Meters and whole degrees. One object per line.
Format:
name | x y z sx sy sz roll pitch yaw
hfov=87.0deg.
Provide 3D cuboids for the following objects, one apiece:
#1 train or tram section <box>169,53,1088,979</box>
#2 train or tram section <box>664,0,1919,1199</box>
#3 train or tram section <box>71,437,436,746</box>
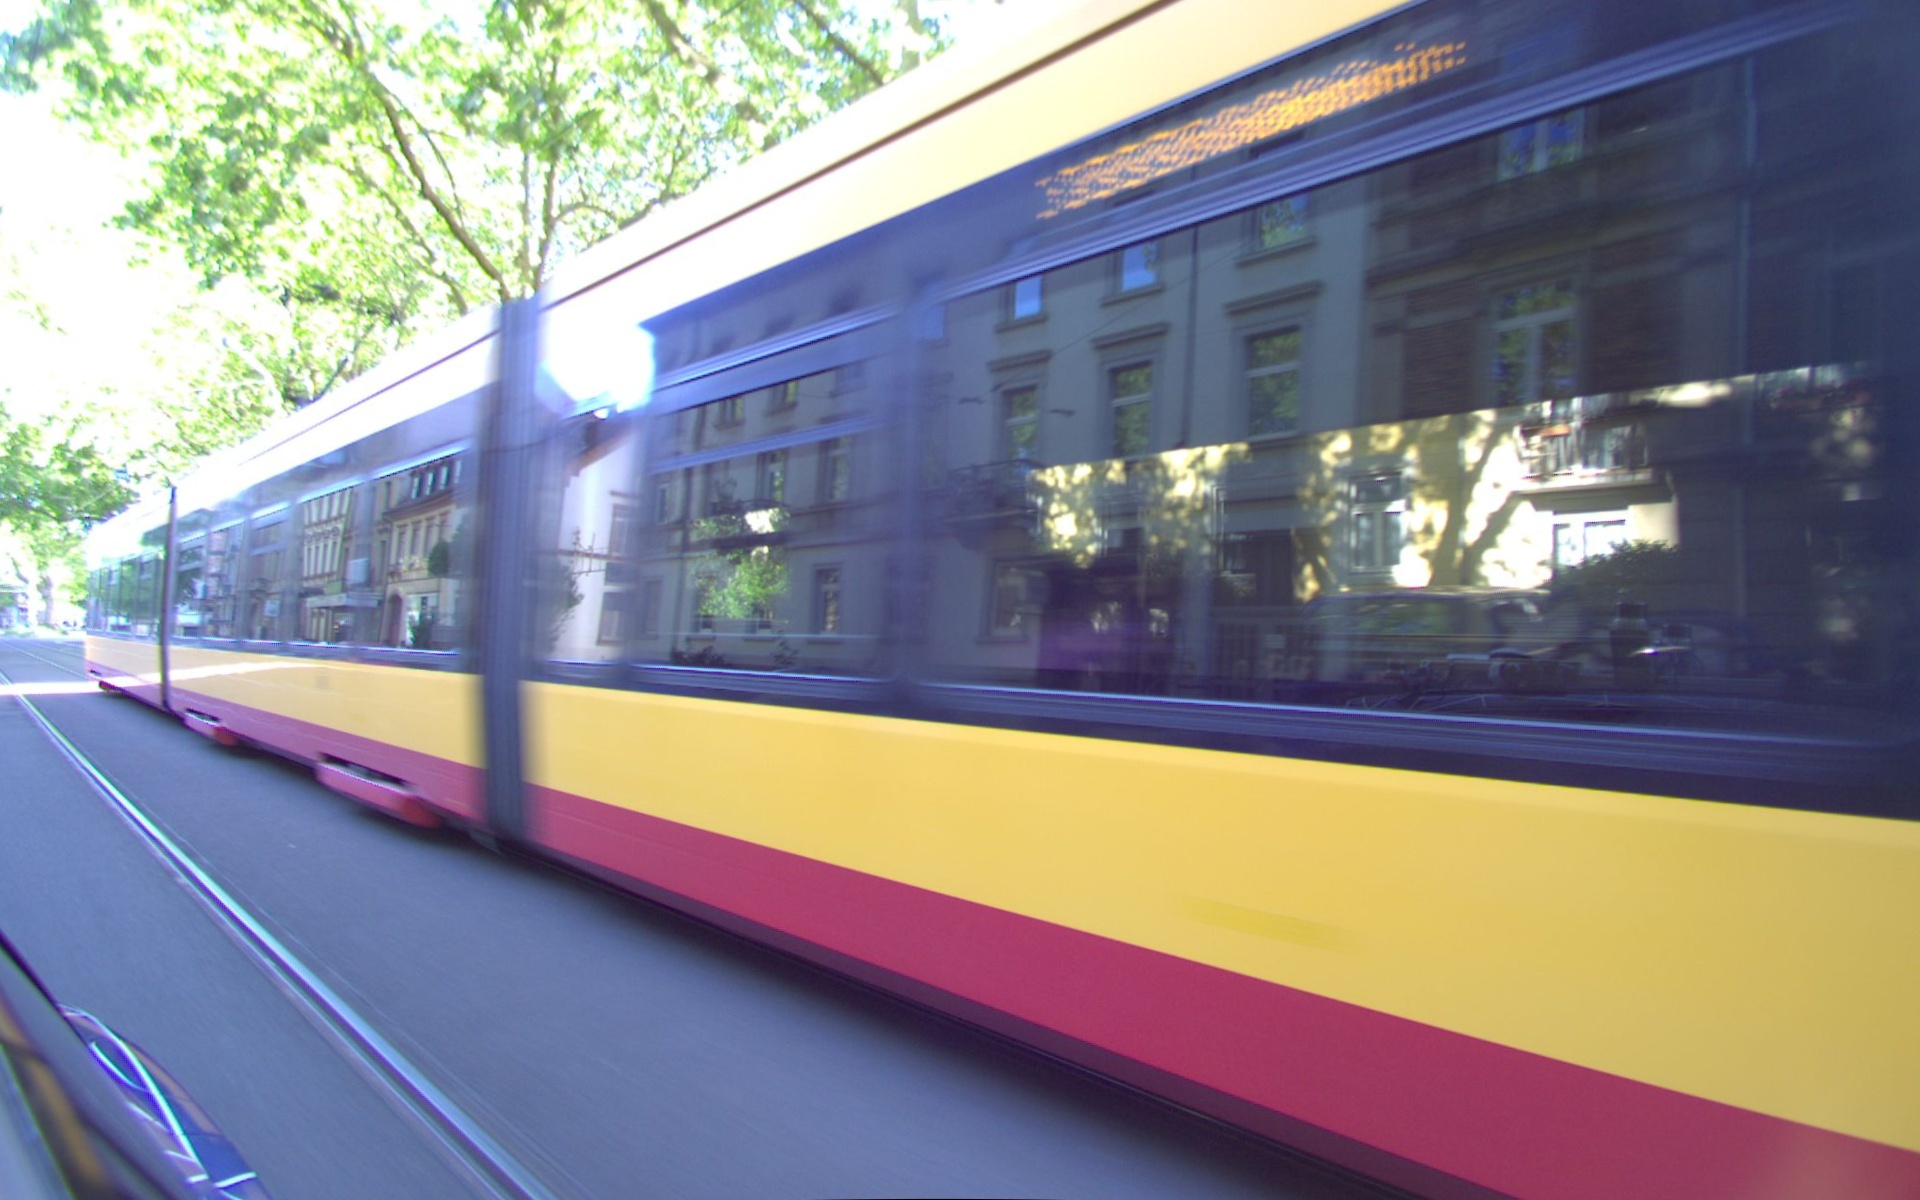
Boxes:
train or tram section | -4.269 -0.300 8.990 11.264 3.646 2.904 -1 0 45
train or tram section | 3.854 -0.466 0.964 11.067 3.646 2.904 -1 0 45
train or tram section | -12.718 -0.060 17.354 12.416 3.646 2.904 -1 0 45
